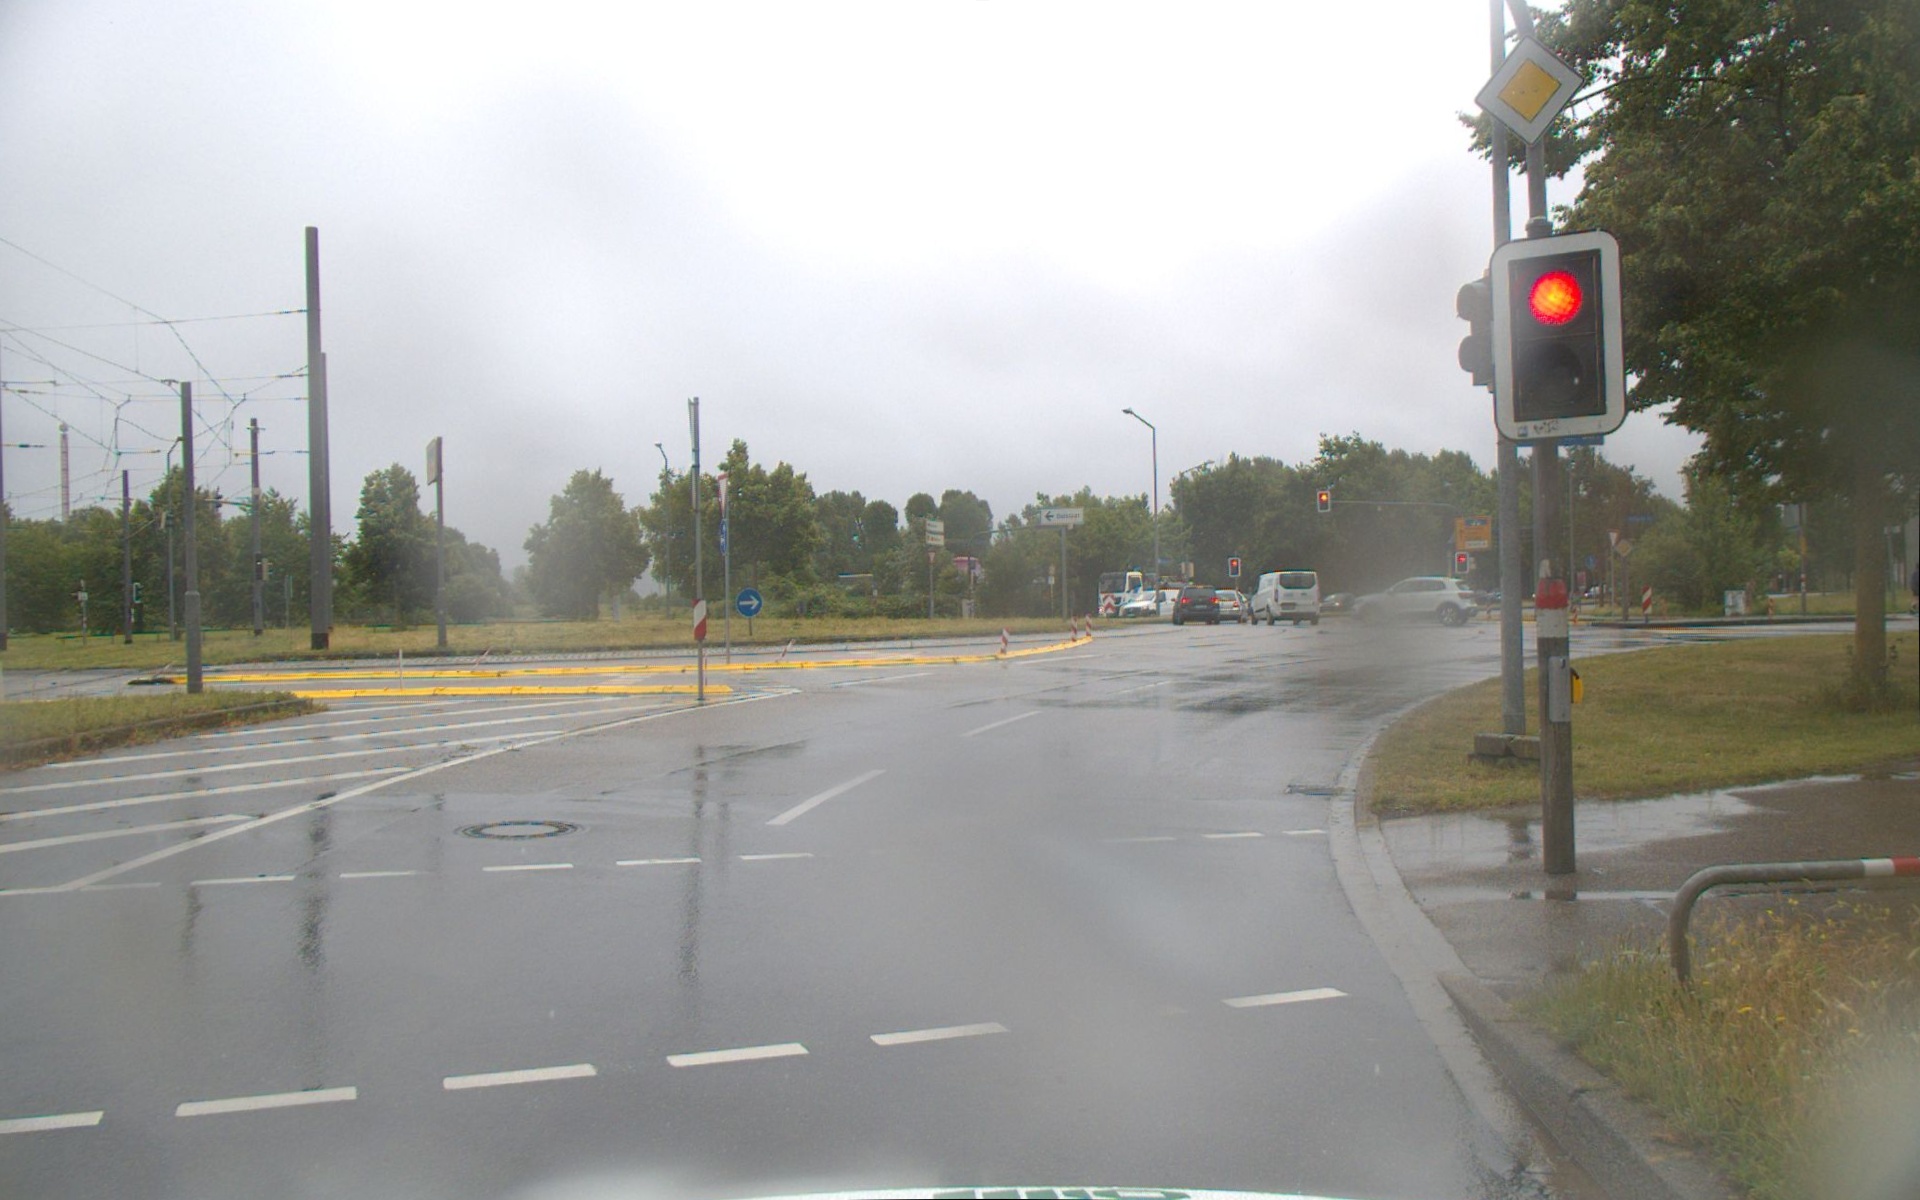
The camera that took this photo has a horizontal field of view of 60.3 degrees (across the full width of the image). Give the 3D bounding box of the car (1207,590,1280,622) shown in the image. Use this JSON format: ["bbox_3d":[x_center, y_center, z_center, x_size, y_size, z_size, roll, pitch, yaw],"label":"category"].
[{"bbox_3d":[13.050,0.276,76.110,3.085,1.396,1.379,1,0,-27],"label":"car"}]

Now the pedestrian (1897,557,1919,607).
[{"bbox_3d":[34.425,-0.641,59.616,0.933,1.803,0.714,1,-1,9],"label":"pedestrian"}]

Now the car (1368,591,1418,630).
[{"bbox_3d":[17.865,0.406,68.342,1.653,1.518,3.254,-1,0,8],"label":"car"}]

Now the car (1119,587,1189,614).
[{"bbox_3d":[11.211,0.030,95.466,1.584,1.518,4.518,1,0,44],"label":"car"}]

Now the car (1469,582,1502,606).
[{"bbox_3d":[45.979,-0.516,144.665,1.758,2.049,3.659,1,0,36],"label":"car"}]

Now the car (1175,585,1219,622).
[{"bbox_3d":[10.112,0.142,70.795,1.653,1.518,3.253,1,0,4],"label":"car"}]

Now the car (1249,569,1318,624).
[{"bbox_3d":[12.570,-0.119,64.431,1.747,2.072,3.998,1,0,-2],"label":"car"}]

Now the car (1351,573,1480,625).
[{"bbox_3d":[15.158,-0.041,55.116,3.860,1.676,1.683,1,0,29],"label":"car"}]

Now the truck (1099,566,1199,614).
[{"bbox_3d":[11.644,-0.573,101.286,1.960,2.759,8.761,1,0,36],"label":"truck"}]
